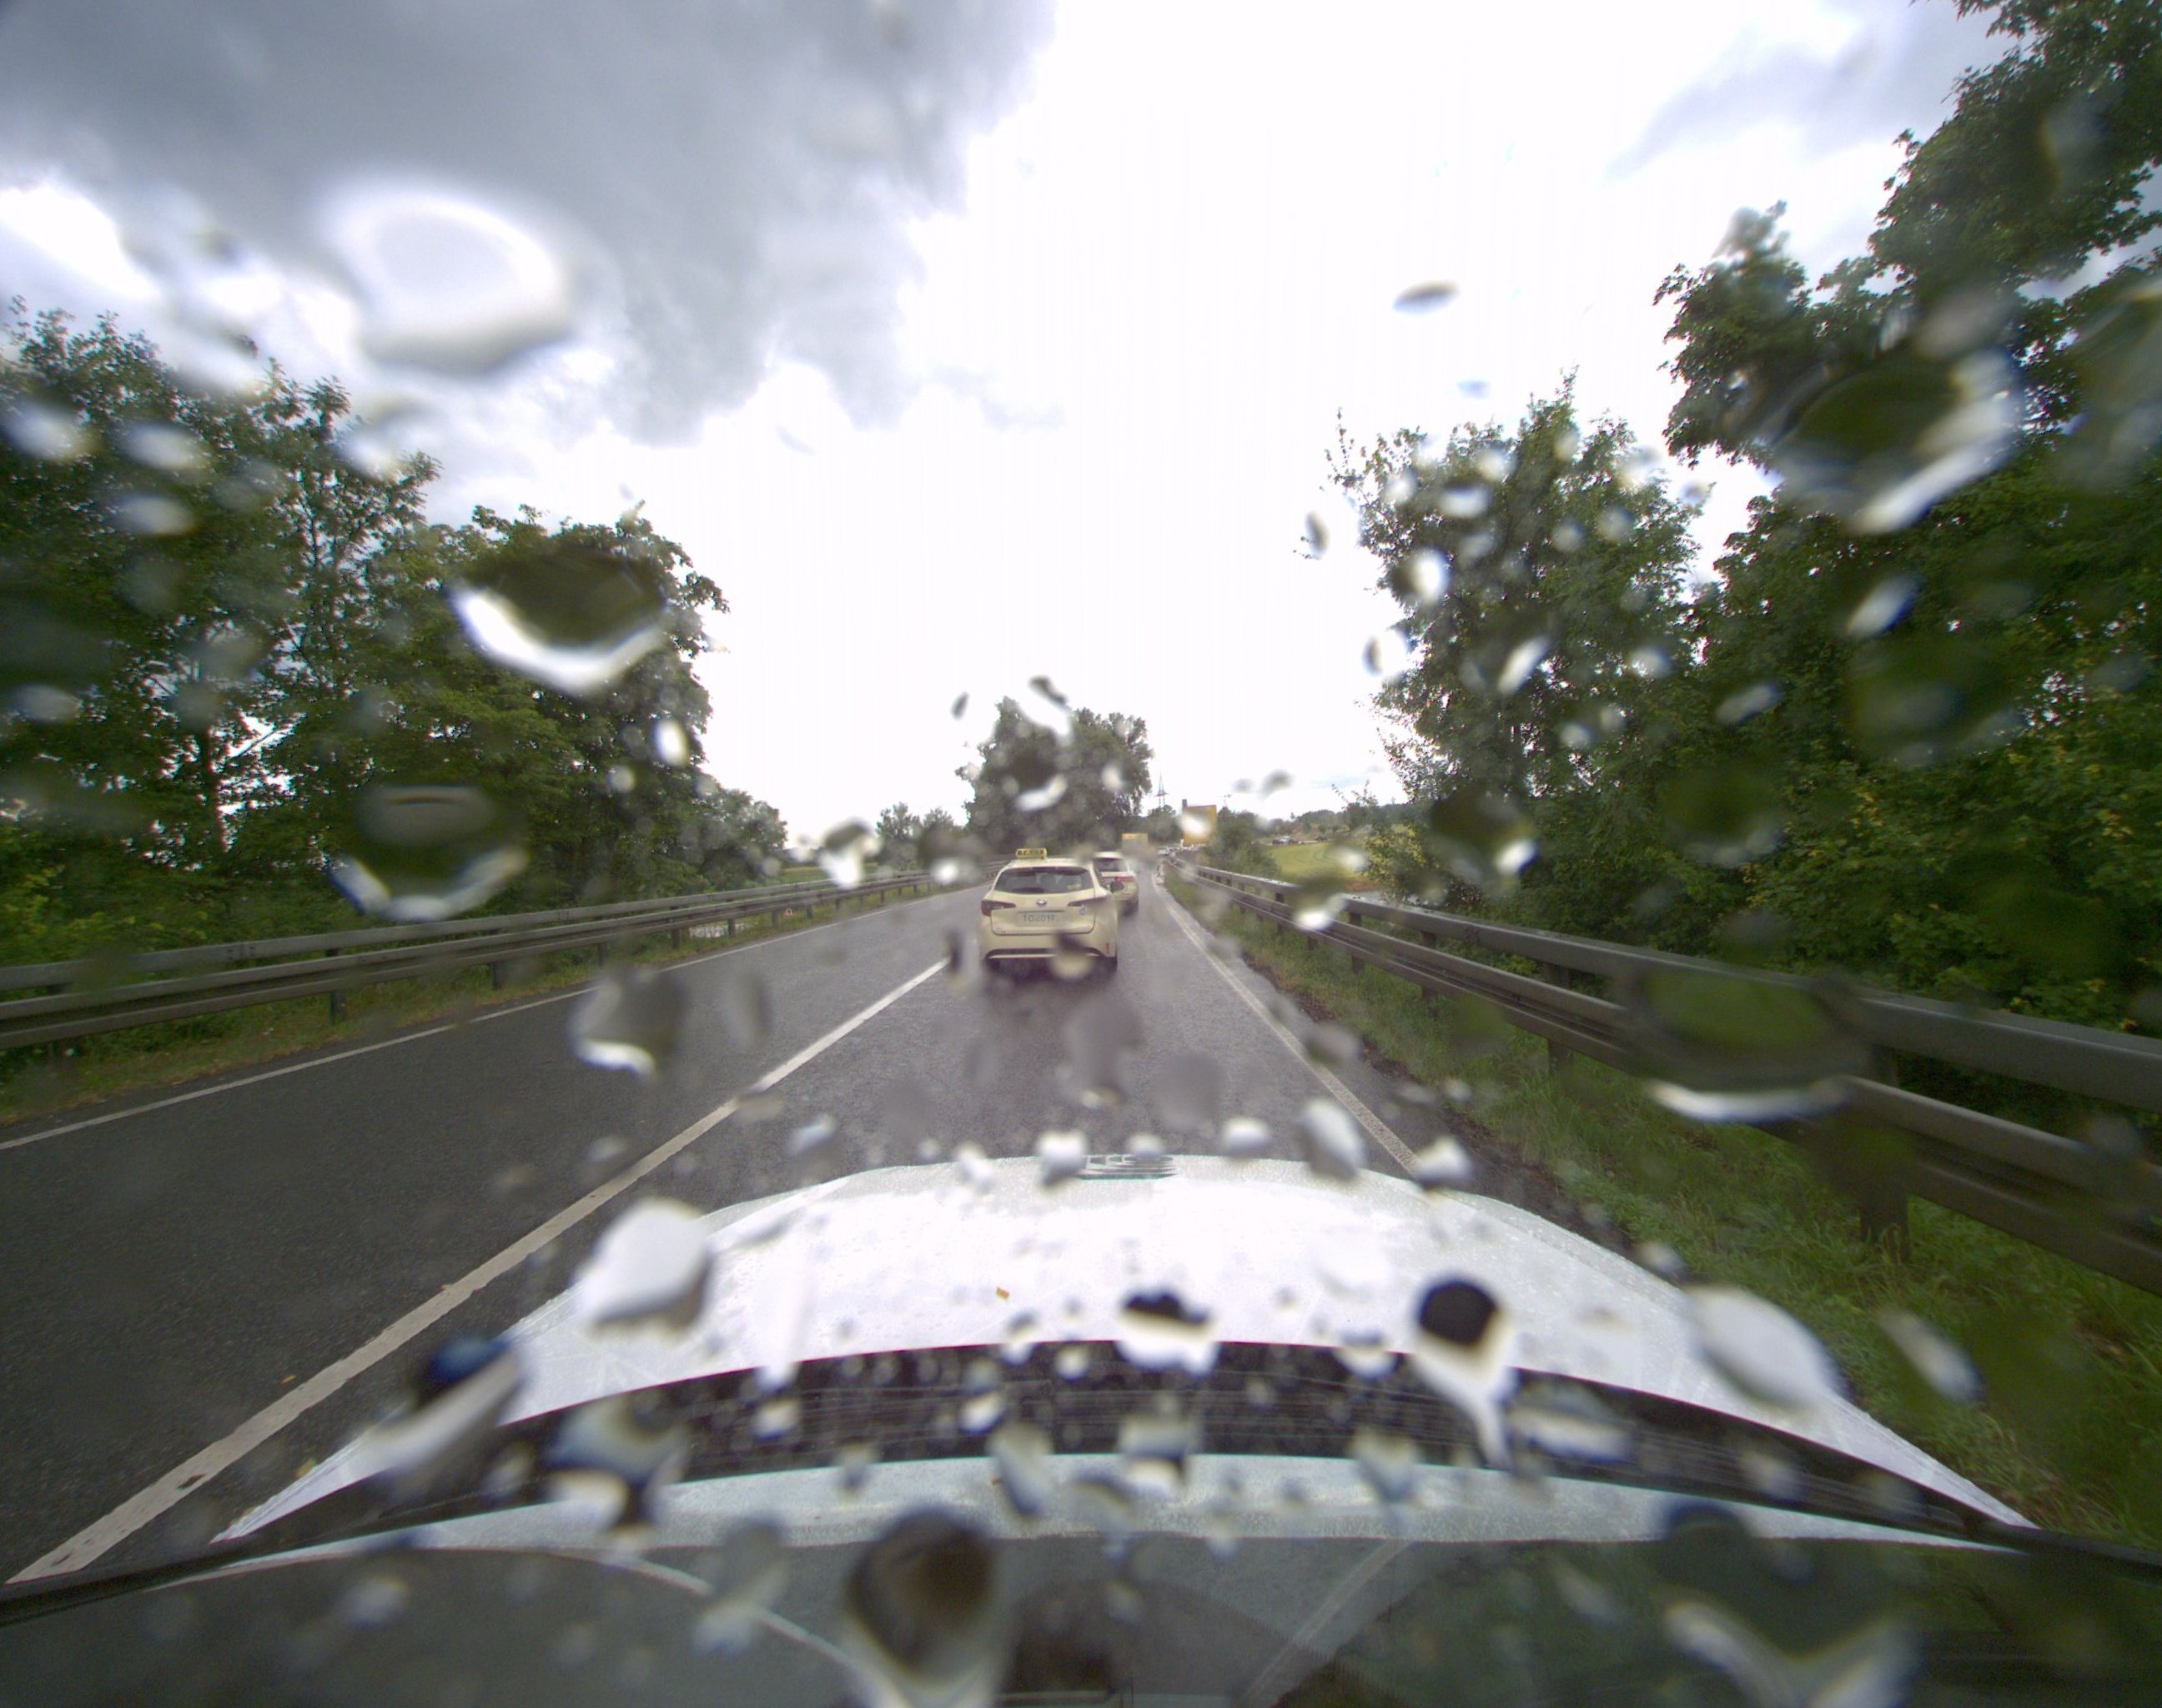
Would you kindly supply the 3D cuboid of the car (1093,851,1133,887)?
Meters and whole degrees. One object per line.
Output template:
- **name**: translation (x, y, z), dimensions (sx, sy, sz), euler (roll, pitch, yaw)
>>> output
- **car**: translation (1.387, 0.594, 34.280), dimensions (1.498, 1.437, 3.360), euler (-1, 0, 5)

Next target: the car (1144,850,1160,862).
- **car**: translation (8.133, 0.201, 92.734), dimensions (1.473, 1.309, 3.487), euler (-1, 0, 10)

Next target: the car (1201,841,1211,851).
- **car**: translation (24.093, -1.561, 156.836), dimensions (1.720, 1.819, 4.013), euler (-1, 0, 12)

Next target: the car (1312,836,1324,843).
- **car**: translation (72.709, -4.405, 249.628), dimensions (2.120, 2.014, 4.025), euler (-1, 0, 37)

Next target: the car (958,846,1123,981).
- **car**: translation (-0.379, 0.688, 11.567), dimensions (1.898, 1.537, 4.164), euler (-1, 0, 2)

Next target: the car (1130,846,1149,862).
- **car**: translation (5.537, 0.053, 76.515), dimensions (1.652, 1.409, 3.910), euler (-1, -1, 6)

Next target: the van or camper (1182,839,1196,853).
- **van or camper**: translation (18.236, -1.317, 137.514), dimensions (1.979, 2.254, 4.015), euler (-1, 0, 13)

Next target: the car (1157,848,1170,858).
- **car**: translation (11.162, -0.203, 110.328), dimensions (1.474, 1.309, 3.486), euler (-1, 0, 9)

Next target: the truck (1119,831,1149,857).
- **truck**: translation (7.444, -1.460, 112.559), dimensions (2.752, 3.428, 9.220), euler (1, 2, 12)

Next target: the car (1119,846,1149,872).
- **car**: translation (3.232, 0.295, 49.946), dimensions (1.659, 1.464, 3.477), euler (-1, 0, 1)

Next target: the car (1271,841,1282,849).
- **car**: translation (52.692, -2.413, 219.610), dimensions (1.801, 1.838, 4.013), euler (-1, 0, 29)

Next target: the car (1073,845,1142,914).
- **car**: translation (0.704, 0.587, 20.591), dimensions (1.571, 1.572, 3.684), euler (-1, 0, 3)
